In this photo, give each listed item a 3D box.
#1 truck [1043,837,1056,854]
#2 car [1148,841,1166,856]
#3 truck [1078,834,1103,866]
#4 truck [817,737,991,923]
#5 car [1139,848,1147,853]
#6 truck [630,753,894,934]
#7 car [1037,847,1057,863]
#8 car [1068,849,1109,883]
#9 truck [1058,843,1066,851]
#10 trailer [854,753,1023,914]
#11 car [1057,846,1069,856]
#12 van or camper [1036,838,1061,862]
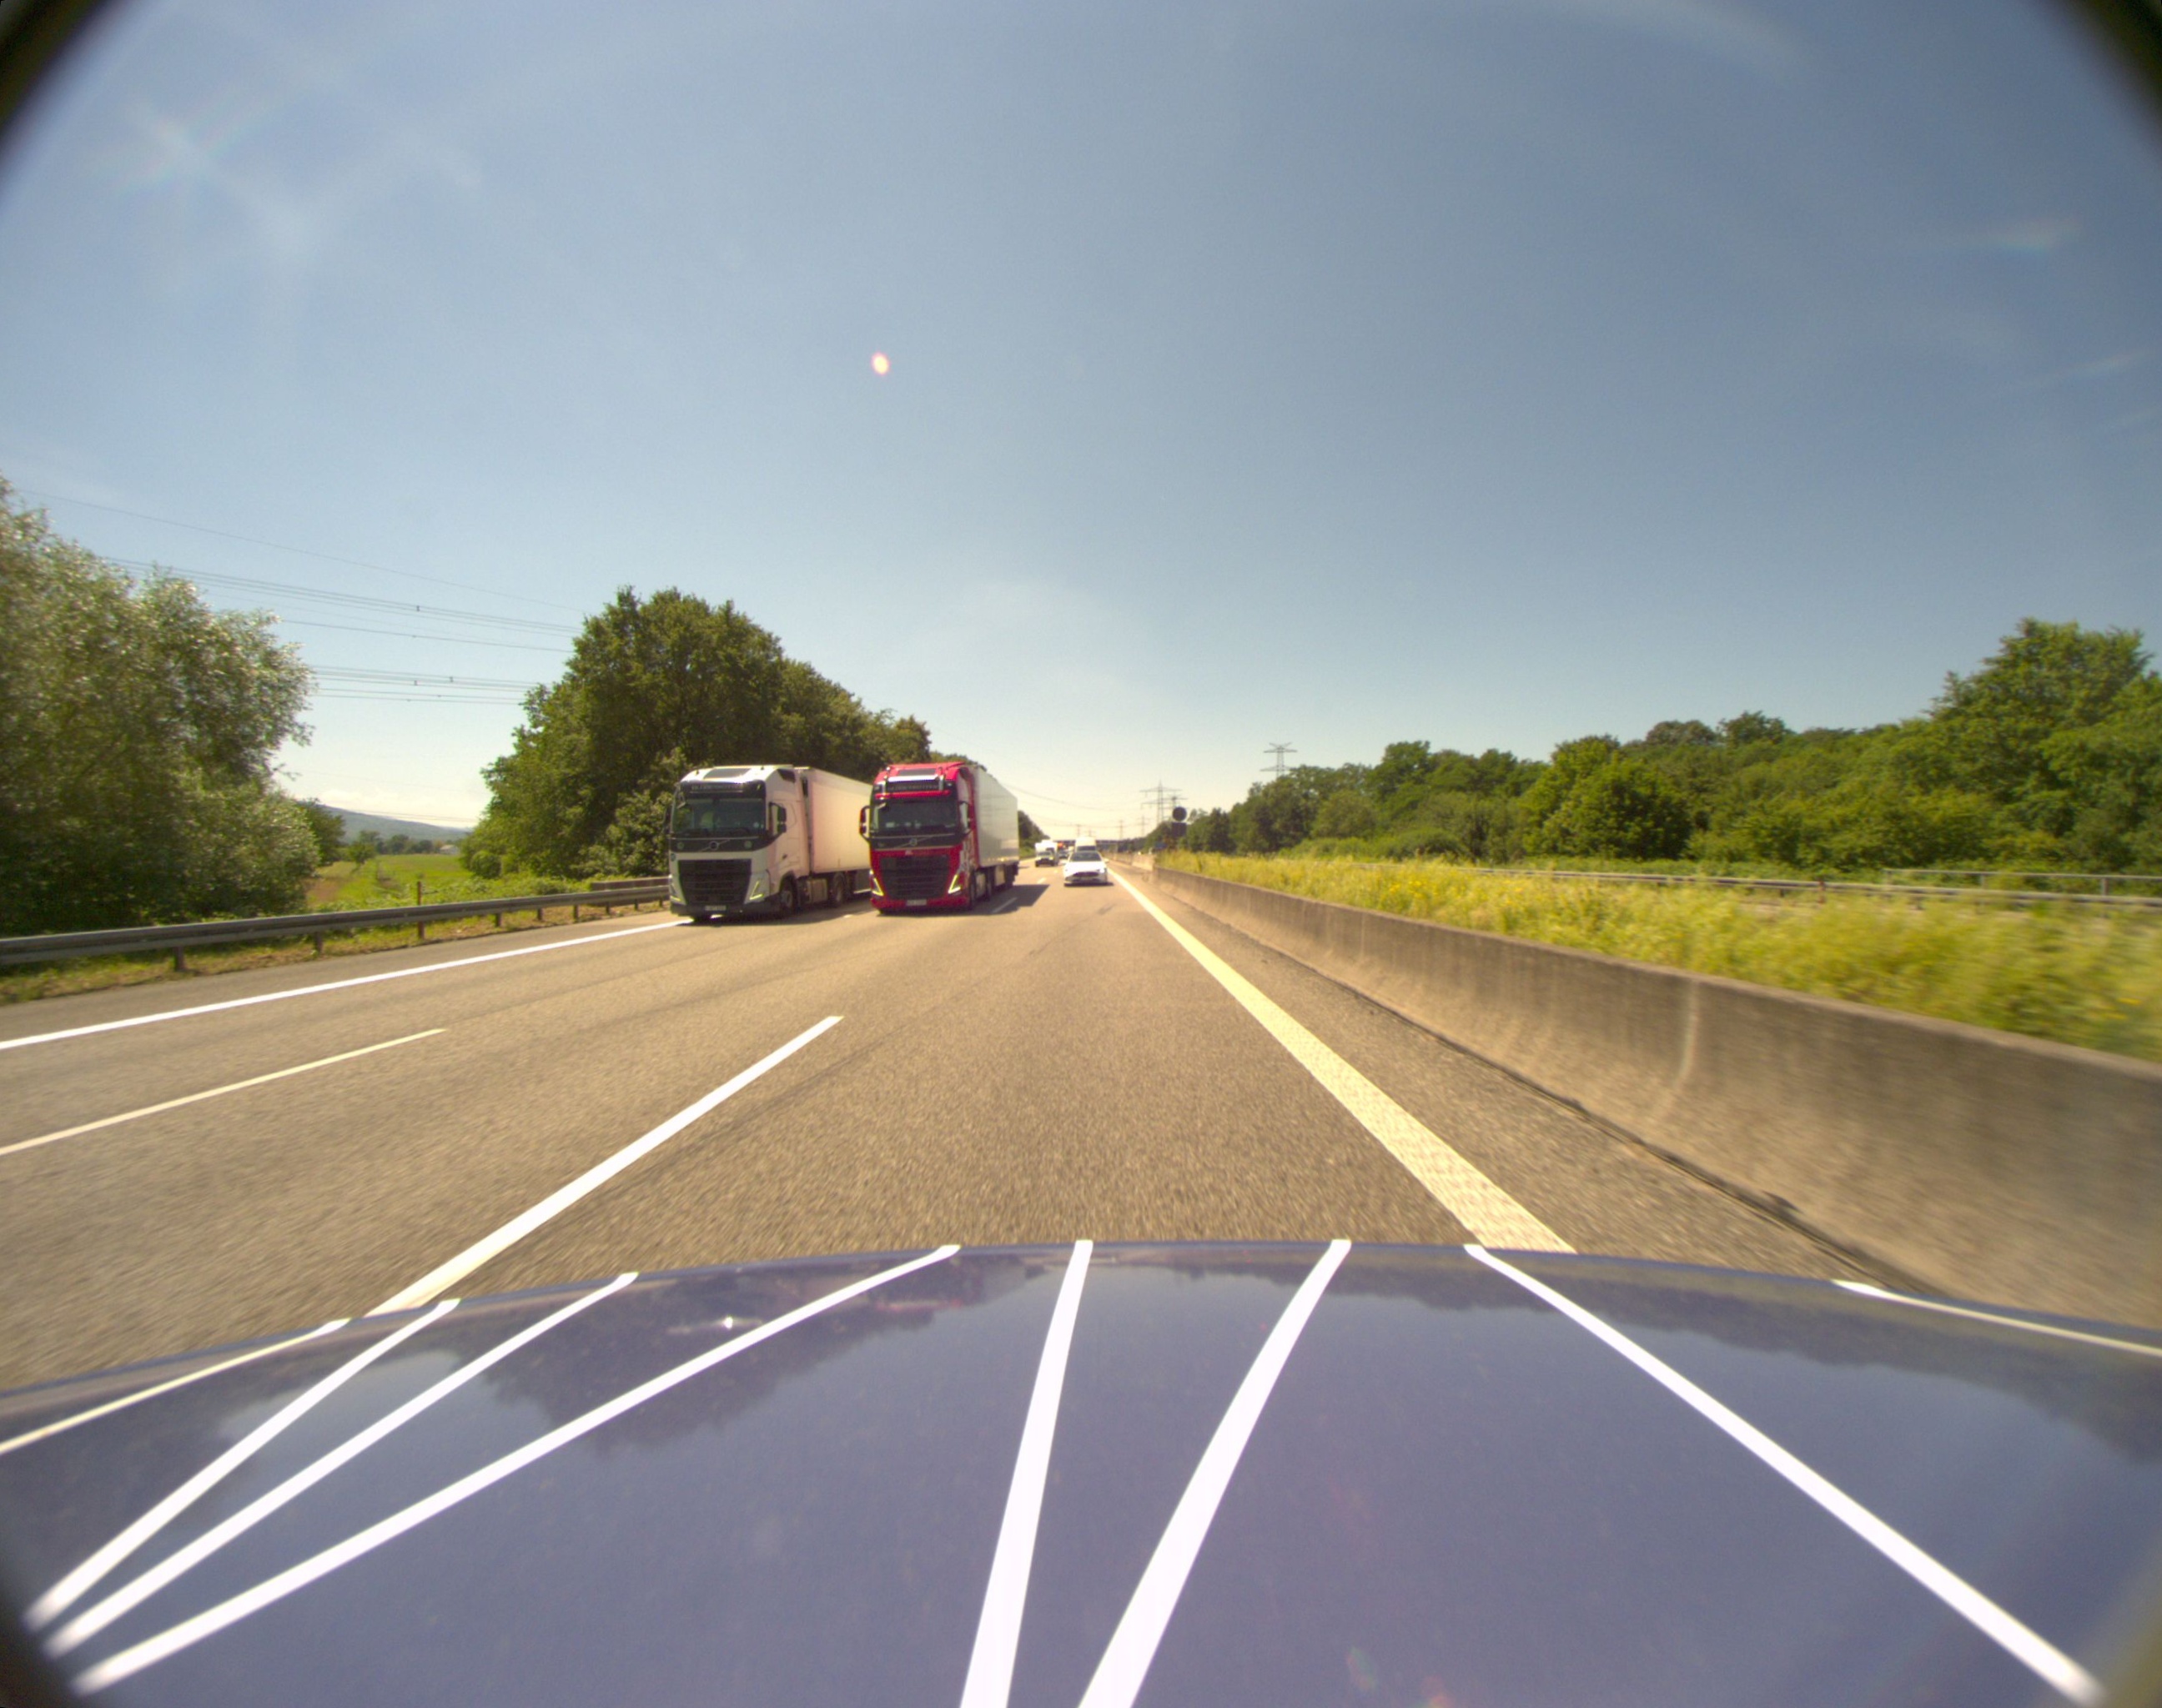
[{"bbox_3d":[-7.154,-1.826,171.824,2.584,3.704,8.278,-2,1,0],"label":"truck"},{"bbox_3d":[10.873,-0.745,108.866,1.998,2.002,6.222,1,0,0],"label":"car"},{"bbox_3d":[0.851,-0.376,70.179,2.192,2.841,5.503,-1,0,0],"label":"truck"},{"bbox_3d":[-4.209,-0.541,19.613,2.948,3.963,6.100,-2,1,0],"label":"truck"},{"bbox_3d":[18.586,-0.991,228.324,1.913,1.470,4.824,2,0,0],"label":"car"},{"bbox_3d":[-8.681,-0.290,22.948,3.033,4.069,10.976,-2,1,1],"label":"truck"},{"bbox_3d":[-3.438,0.059,77.050,1.788,1.520,4.104,-1,0,0],"label":"car"},{"bbox_3d":[0.343,0.517,36.028,1.788,1.462,3.999,-2,1,0],"label":"car"},{"bbox_3d":[-6.400,-2.284,257.165,2.619,2.801,6.593,0,0,0],"label":"truck"},{"bbox_3d":[-4.215,-0.597,27.345,2.945,3.994,16.197,-2,1,0],"label":"trailer"},{"bbox_3d":[-3.158,-0.455,133.372,1.904,1.662,3.999,-1,0,0],"label":"car"},{"bbox_3d":[-3.472,-0.449,82.336,2.411,2.483,6.431,-1,0,0],"label":"van or camper"}]
